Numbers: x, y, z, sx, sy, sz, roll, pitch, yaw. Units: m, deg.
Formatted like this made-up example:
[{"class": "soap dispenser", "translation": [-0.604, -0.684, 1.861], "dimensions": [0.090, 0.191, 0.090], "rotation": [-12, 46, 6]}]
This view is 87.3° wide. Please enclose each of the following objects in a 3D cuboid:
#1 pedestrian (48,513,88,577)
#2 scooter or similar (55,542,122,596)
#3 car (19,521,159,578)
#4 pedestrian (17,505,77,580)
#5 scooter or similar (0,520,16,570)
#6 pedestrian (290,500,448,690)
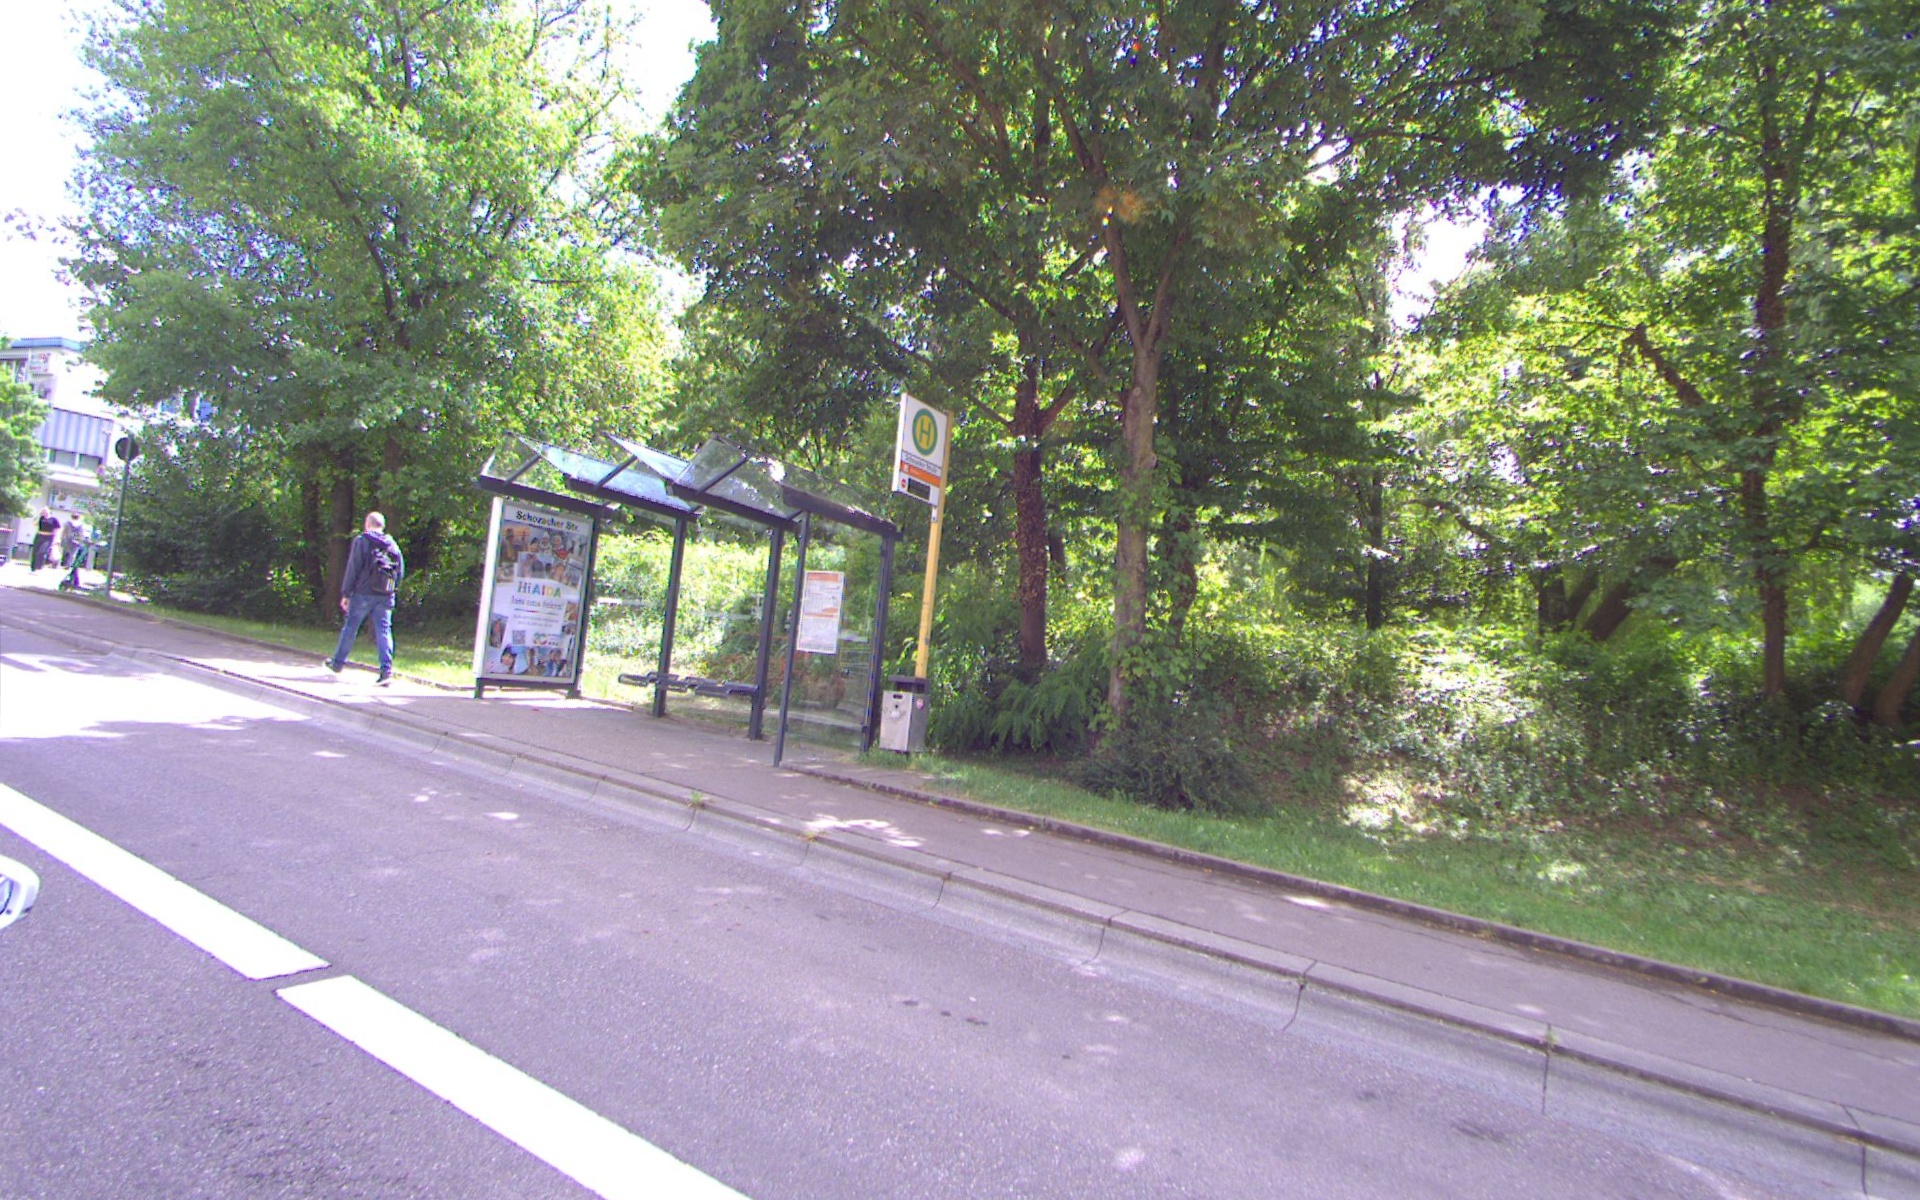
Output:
[{"class": "pedestrian", "translation": [-26.722, -1.653, 30.155], "dimensions": [0.611, 1.808, 0.562], "rotation": [12, -5, -40]}, {"class": "scooter or similar", "translation": [-20.342, -0.707, 23.506], "dimensions": [0.325, 1.112, 1.153], "rotation": [7, -2, 9]}, {"class": "car", "translation": [-33.522, -1.902, 38.824], "dimensions": [1.679, 1.619, 3.592], "rotation": [6, -2, 20]}, {"class": "pedestrian", "translation": [-23.931, -1.501, 26.386], "dimensions": [0.754, 1.808, 0.565], "rotation": [11, -5, -27]}, {"class": "scooter or similar", "translation": [-24.975, -1.468, 25.715], "dimensions": [0.326, 1.273, 1.111], "rotation": [7, -1, 20]}, {"class": "pedestrian", "translation": [-6.551, -0.060, 11.157], "dimensions": [1.250, 1.916, 0.803], "rotation": [6, -2, 33]}]
